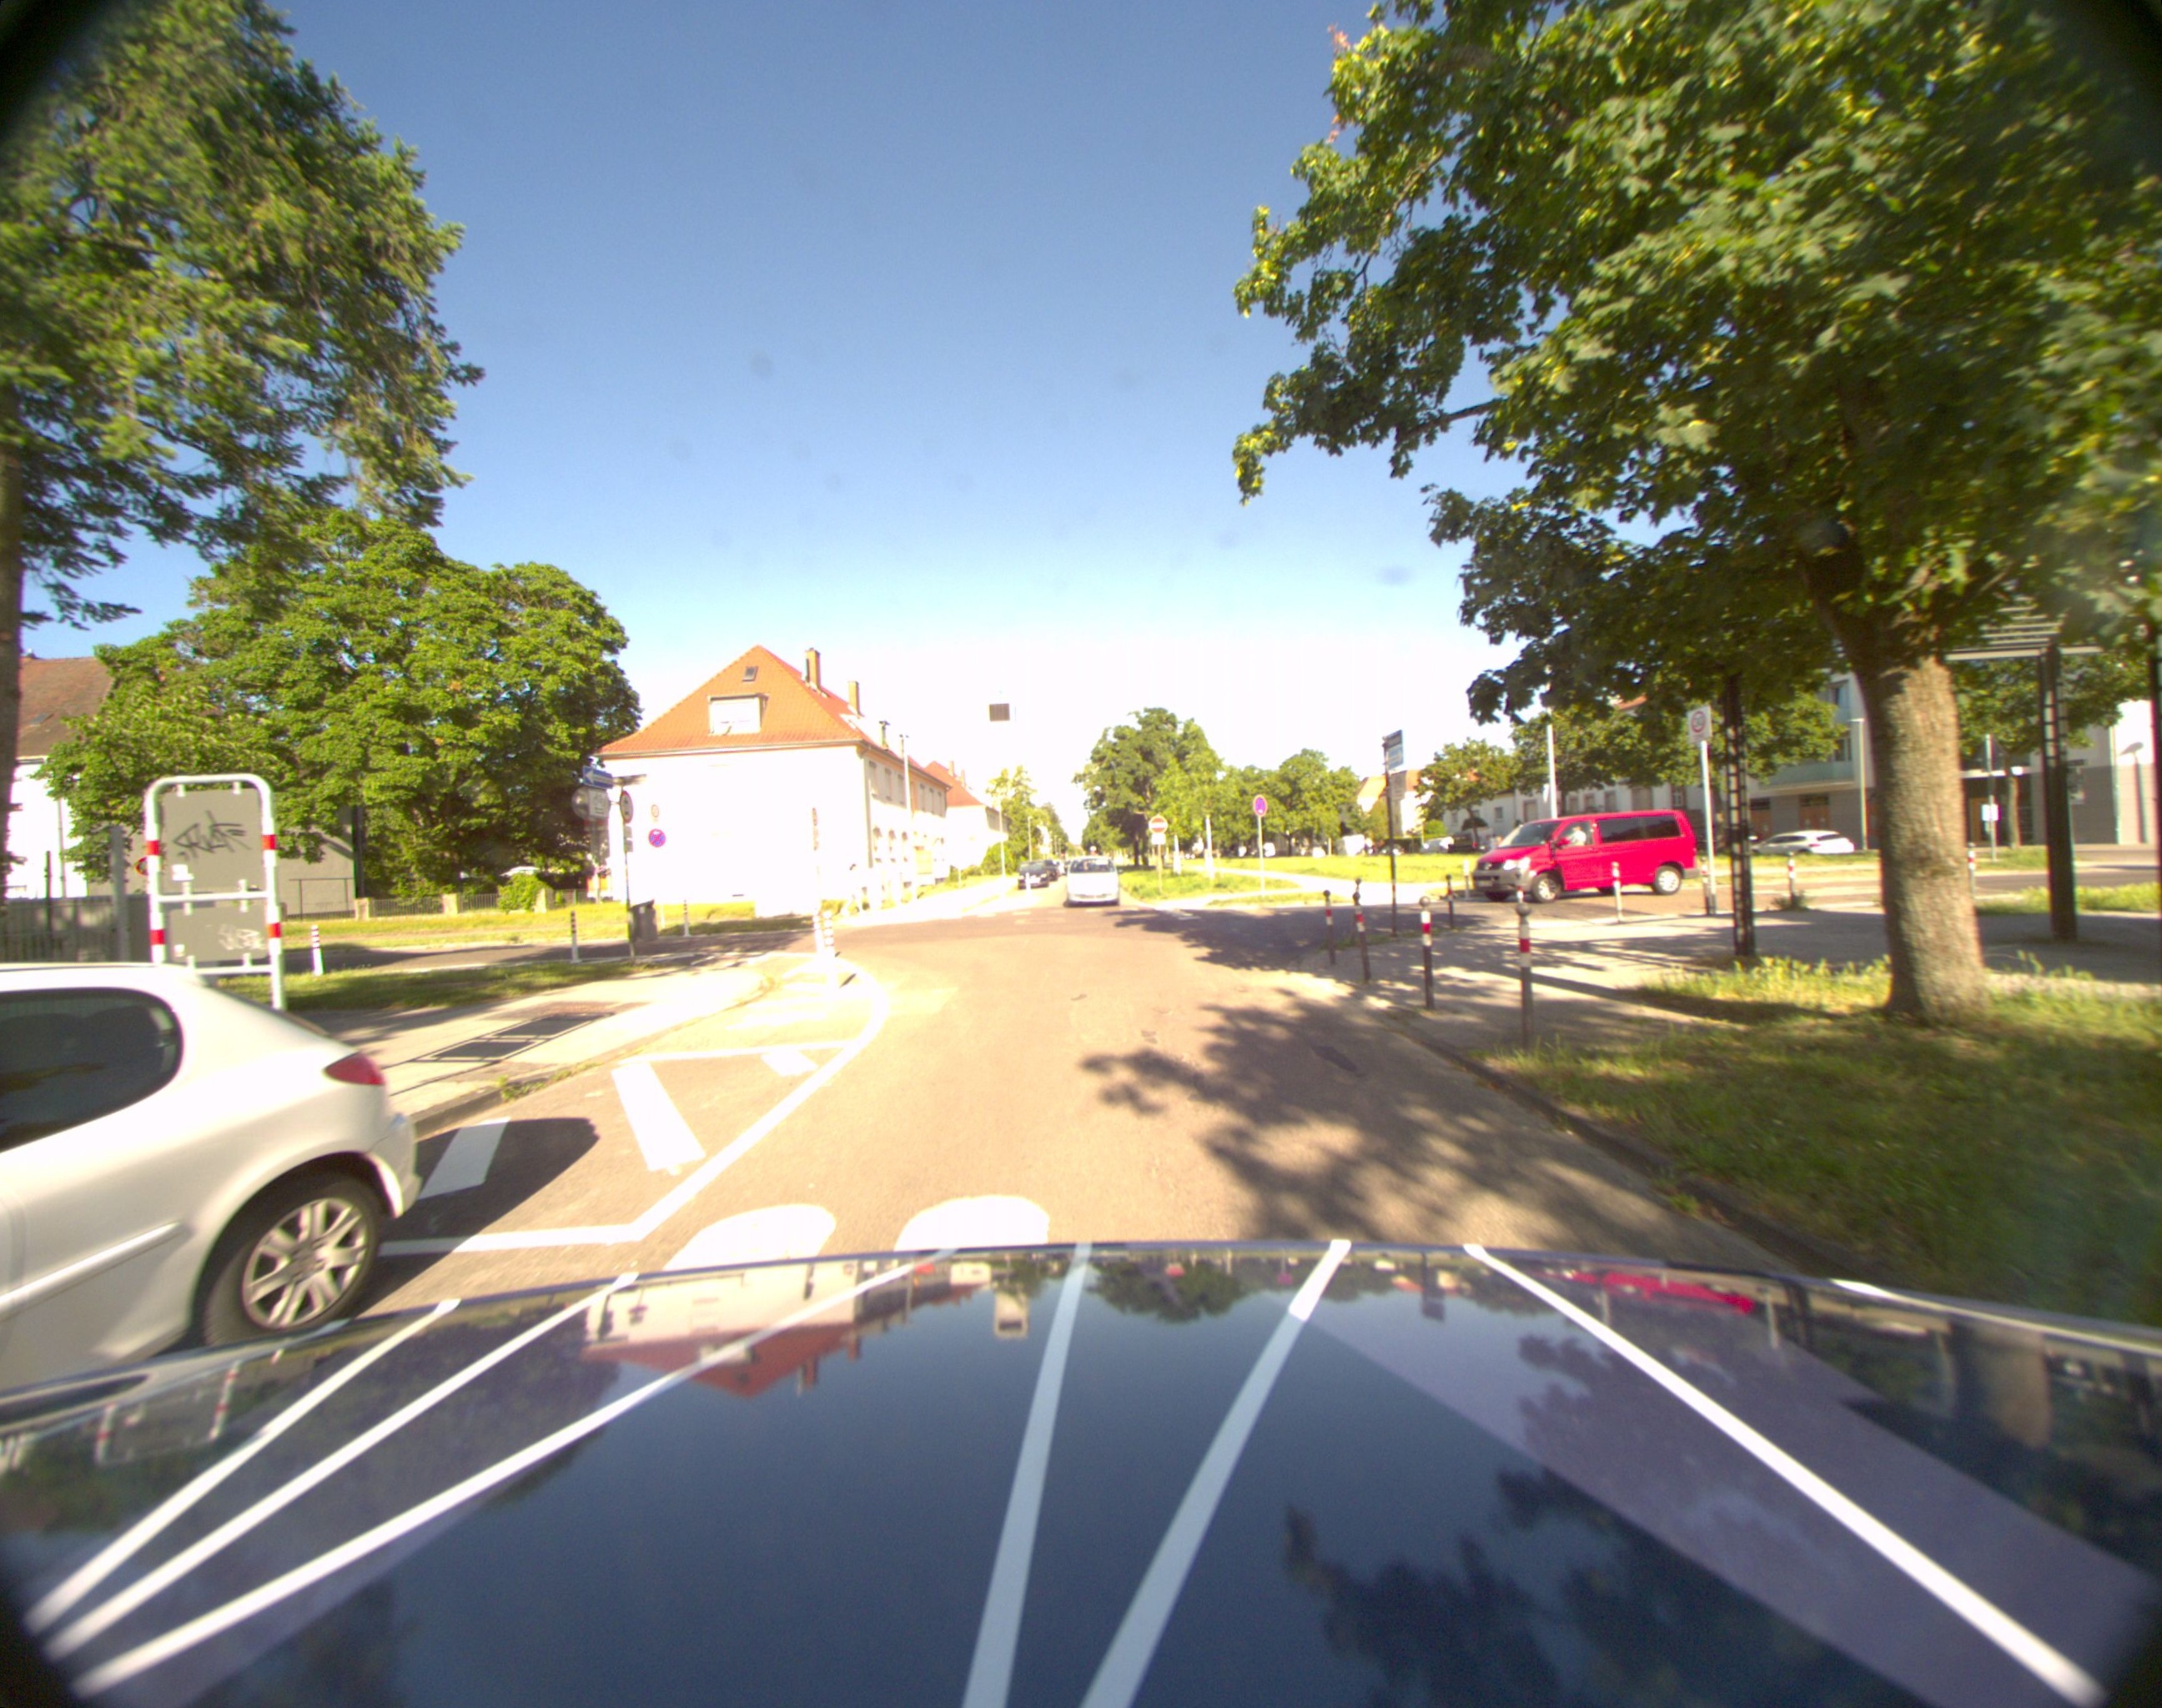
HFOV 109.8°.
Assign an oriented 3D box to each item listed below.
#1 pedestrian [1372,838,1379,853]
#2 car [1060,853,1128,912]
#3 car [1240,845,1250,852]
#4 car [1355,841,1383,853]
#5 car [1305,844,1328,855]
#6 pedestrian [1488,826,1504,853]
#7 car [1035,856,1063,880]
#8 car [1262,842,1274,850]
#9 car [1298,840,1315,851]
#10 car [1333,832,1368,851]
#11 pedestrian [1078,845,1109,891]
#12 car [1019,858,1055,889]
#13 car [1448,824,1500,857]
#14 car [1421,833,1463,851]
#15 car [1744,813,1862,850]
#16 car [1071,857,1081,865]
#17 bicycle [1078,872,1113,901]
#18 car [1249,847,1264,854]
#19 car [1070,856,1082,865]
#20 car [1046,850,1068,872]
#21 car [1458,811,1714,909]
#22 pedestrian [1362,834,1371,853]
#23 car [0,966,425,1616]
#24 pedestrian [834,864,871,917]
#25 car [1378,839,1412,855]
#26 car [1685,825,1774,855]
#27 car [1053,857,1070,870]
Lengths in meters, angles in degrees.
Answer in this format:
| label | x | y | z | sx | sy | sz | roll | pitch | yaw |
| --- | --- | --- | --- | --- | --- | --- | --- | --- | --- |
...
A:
| label | x | y | z | sx | sy | sz | roll | pitch | yaw |
| --- | --- | --- | --- | --- | --- | --- | --- | --- | --- |
| pedestrian | 29.995 | -0.835 | 77.325 | 0.496 | 1.496 | 0.535 | -3 | 1 | 1 |
| car | 0.415 | 0.818 | 23.892 | 1.887 | 1.599 | 4.247 | -3 | 0 | 1 |
| car | 42.724 | -1.483 | 197.722 | 1.864 | 1.834 | 3.994 | -3 | 0 | 2 |
| car | 35.069 | -0.902 | 92.532 | 1.933 | 1.337 | 4.110 | -3 | 0 | 2 |
| car | 35.490 | -0.646 | 114.481 | 2.079 | 1.457 | 4.728 | -3 | 0 | 2 |
| pedestrian | 28.704 | -1.001 | 52.568 | 0.724 | 1.866 | 0.629 | -3 | 1 | 0 |
| car | -2.302 | 1.020 | 55.670 | 1.720 | 1.574 | 4.140 | -3 | 0 | 1 |
| car | 41.701 | -1.772 | 169.498 | 1.864 | 1.834 | 3.994 | -3 | 0 | 2 |
| car | 40.929 | -1.464 | 138.129 | 1.864 | 1.834 | 3.994 | -3 | 0 | 2 |
| car | 35.046 | -1.568 | 99.026 | 2.549 | 2.320 | 5.920 | -3 | 0 | 2 |
| pedestrian | 0.488 | 0.546 | 29.365 | 1.054 | 1.699 | 0.693 | -3 | 1 | -4 |
| car | -2.541 | 1.088 | 44.829 | 1.720 | 1.654 | 4.064 | -3 | 0 | 1 |
| car | 34.412 | -1.156 | 66.697 | 2.191 | 2.569 | 4.288 | -7 | 0 | 2 |
| car | 34.904 | -1.154 | 73.623 | 2.084 | 1.589 | 4.288 | -3 | 0 | 2 |
| car | 34.195 | -1.010 | 36.140 | 1.738 | 1.424 | 3.994 | -7 | 0 | 1 |
| car | -0.951 | 1.361 | 148.044 | 1.720 | 1.334 | 3.809 | -3 | 0 | 1 |
| bicycle | 0.521 | 1.234 | 29.316 | 1.054 | 0.932 | 2.763 | -3 | 0 | -4 |
| car | 36.818 | -0.754 | 159.791 | 2.079 | 1.457 | 4.728 | -3 | 0 | 2 |
| car | -0.789 | 1.013 | 124.514 | 1.720 | 1.334 | 3.809 | -3 | 0 | 1 |
| car | -2.347 | 0.664 | 75.282 | 1.870 | 2.002 | 4.256 | -3 | 0 | 1 |
| car | 11.764 | 0.121 | 17.874 | 4.885 | 1.949 | 1.896 | -3 | 0 | -6 |
| pedestrian | 29.162 | -1.078 | 77.552 | 0.644 | 1.866 | 0.629 | -3 | 1 | 0 |
| car | -3.498 | 1.197 | 1.103 | 1.705 | 1.390 | 3.776 | -4 | 0 | 0 |
| pedestrian | -7.205 | 1.135 | 24.001 | 0.833 | 1.601 | 0.769 | -3 | 1 | 5 |
| car | 35.023 | -0.780 | 84.835 | 2.084 | 1.589 | 4.288 | -3 | 0 | 2 |
| car | 40.233 | -0.848 | 47.288 | 1.895 | 1.673 | 4.289 | -4 | 0 | 2 |
| car | -2.214 | 1.114 | 86.196 | 1.720 | 1.334 | 3.809 | -3 | 0 | 1 |
